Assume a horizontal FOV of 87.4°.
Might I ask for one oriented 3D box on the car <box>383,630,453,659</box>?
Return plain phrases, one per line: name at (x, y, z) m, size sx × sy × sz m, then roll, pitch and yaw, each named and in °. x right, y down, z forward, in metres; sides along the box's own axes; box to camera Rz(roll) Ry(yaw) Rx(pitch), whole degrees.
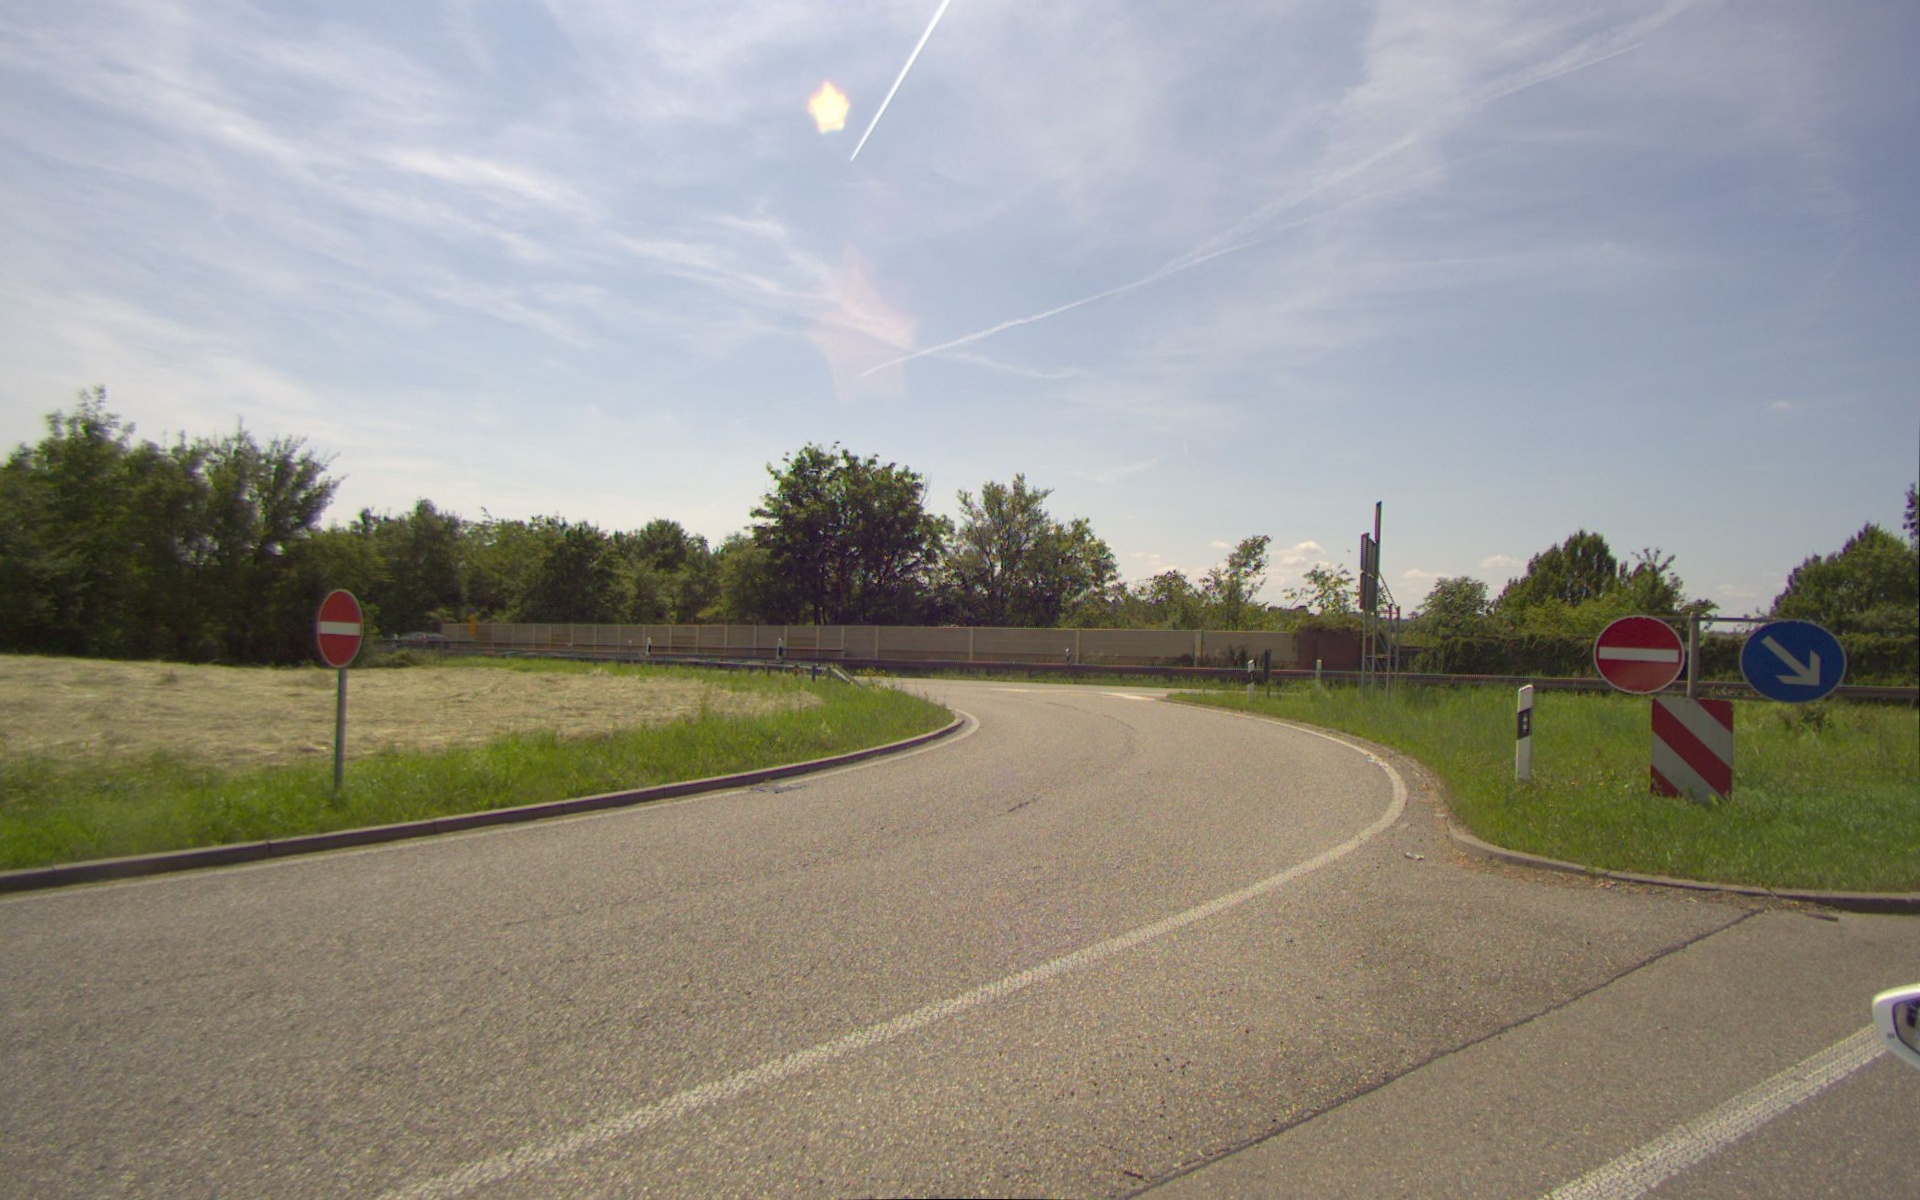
car at (-31.275, 2.555, 57.944) m, size 4.035 × 1.559 × 1.752 m, roll 0°, pitch -1°, yaw 31°
